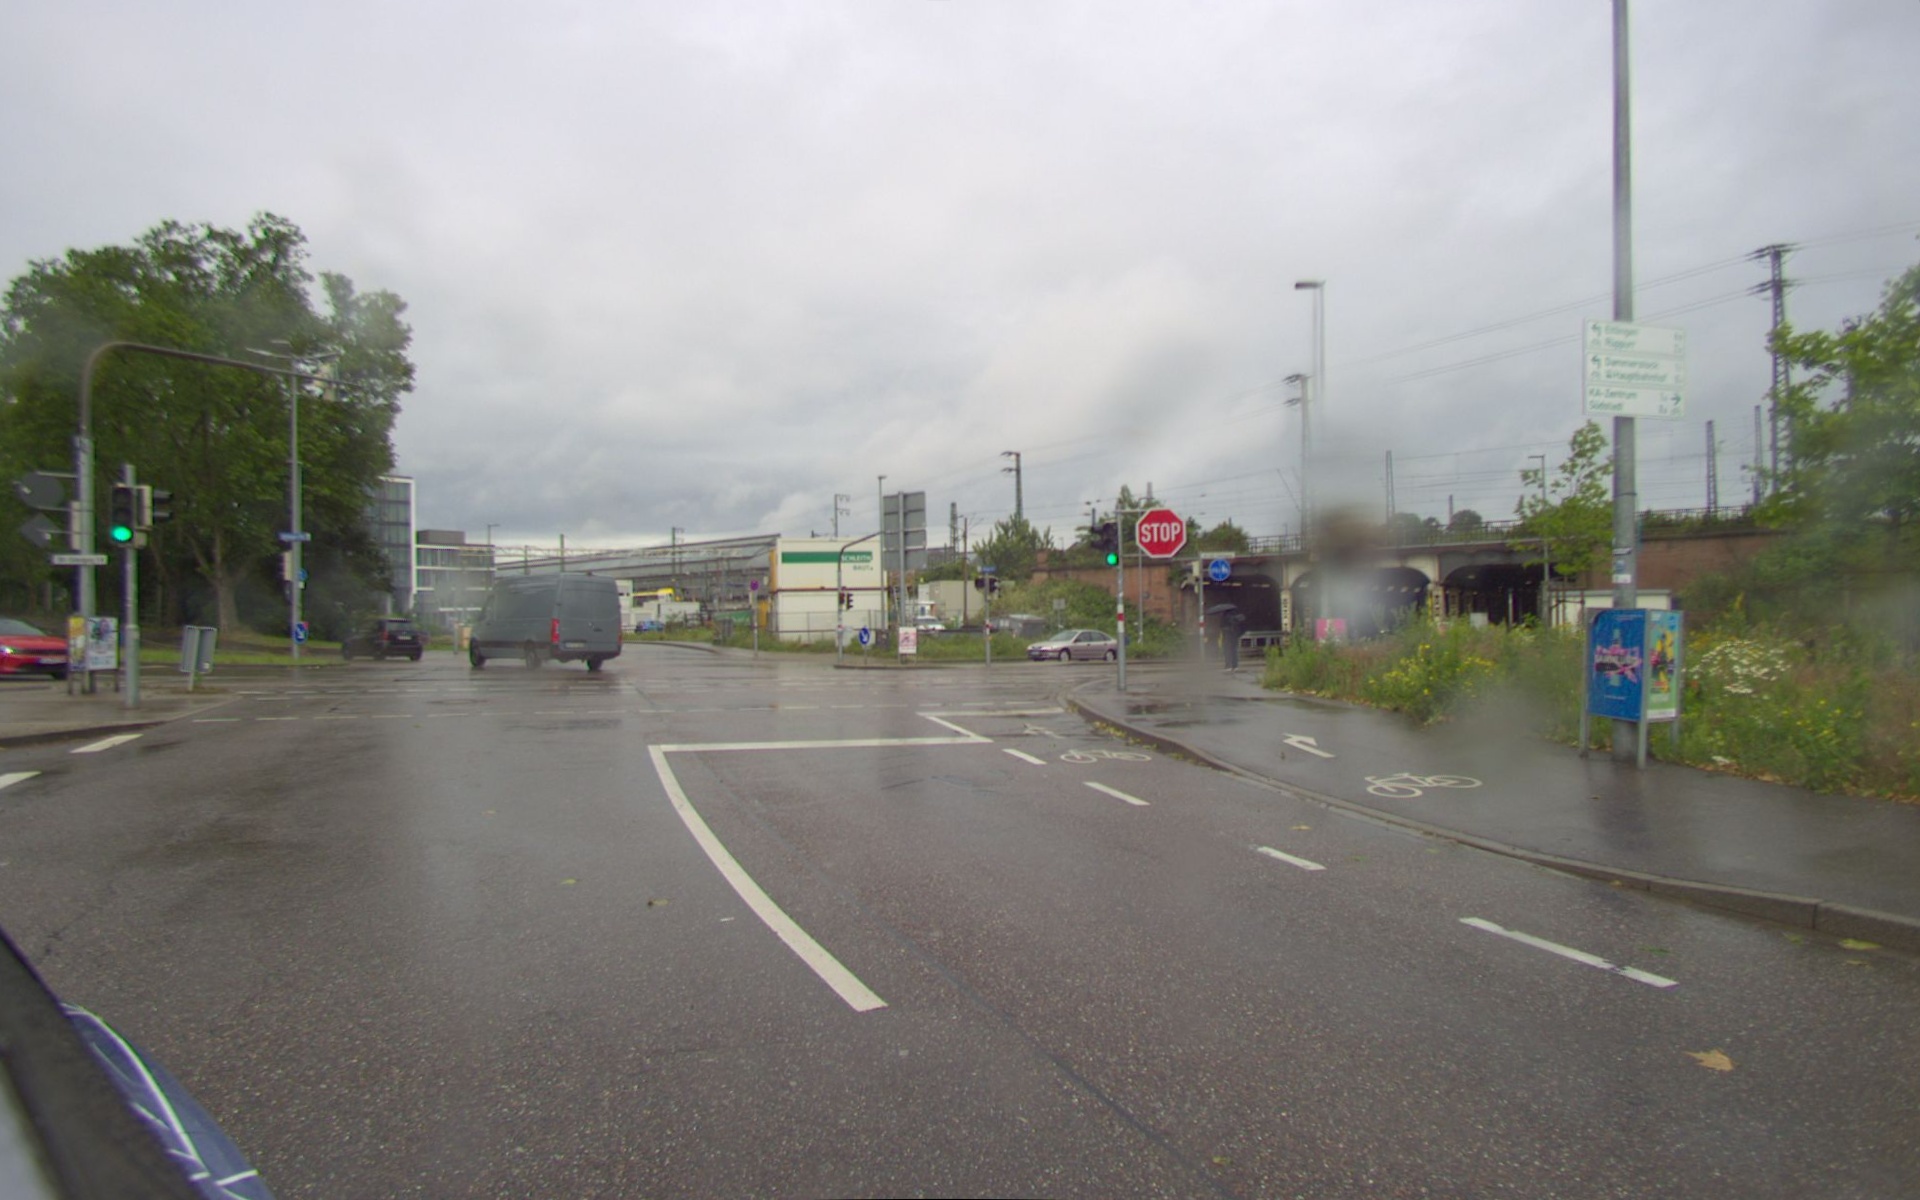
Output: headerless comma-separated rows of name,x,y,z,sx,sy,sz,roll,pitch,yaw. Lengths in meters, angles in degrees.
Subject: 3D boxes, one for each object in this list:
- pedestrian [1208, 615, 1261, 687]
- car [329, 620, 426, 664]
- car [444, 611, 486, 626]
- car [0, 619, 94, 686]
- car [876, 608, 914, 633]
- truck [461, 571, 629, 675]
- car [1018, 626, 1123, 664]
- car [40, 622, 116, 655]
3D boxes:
pedestrian,7.576,1.379,27.904,0.919,1.923,1.308,-1,-1,40
car,-21.260,1.551,36.916,3.518,1.463,1.632,-4,-4,32
car,-56.984,2.121,116.589,1.785,1.621,3.946,-1,-1,40
car,-21.721,1.131,22.611,3.964,1.392,1.736,-1,-1,16
car,-5.725,1.786,88.552,1.965,2.029,4.013,0,0,-26
truck,-12.003,0.666,28.931,2.060,2.639,6.983,1,-2,-44
car,4.638,1.868,42.181,4.358,1.497,1.737,2,-2,-36
car,-45.484,1.948,52.198,3.989,1.654,1.977,-1,-2,34
